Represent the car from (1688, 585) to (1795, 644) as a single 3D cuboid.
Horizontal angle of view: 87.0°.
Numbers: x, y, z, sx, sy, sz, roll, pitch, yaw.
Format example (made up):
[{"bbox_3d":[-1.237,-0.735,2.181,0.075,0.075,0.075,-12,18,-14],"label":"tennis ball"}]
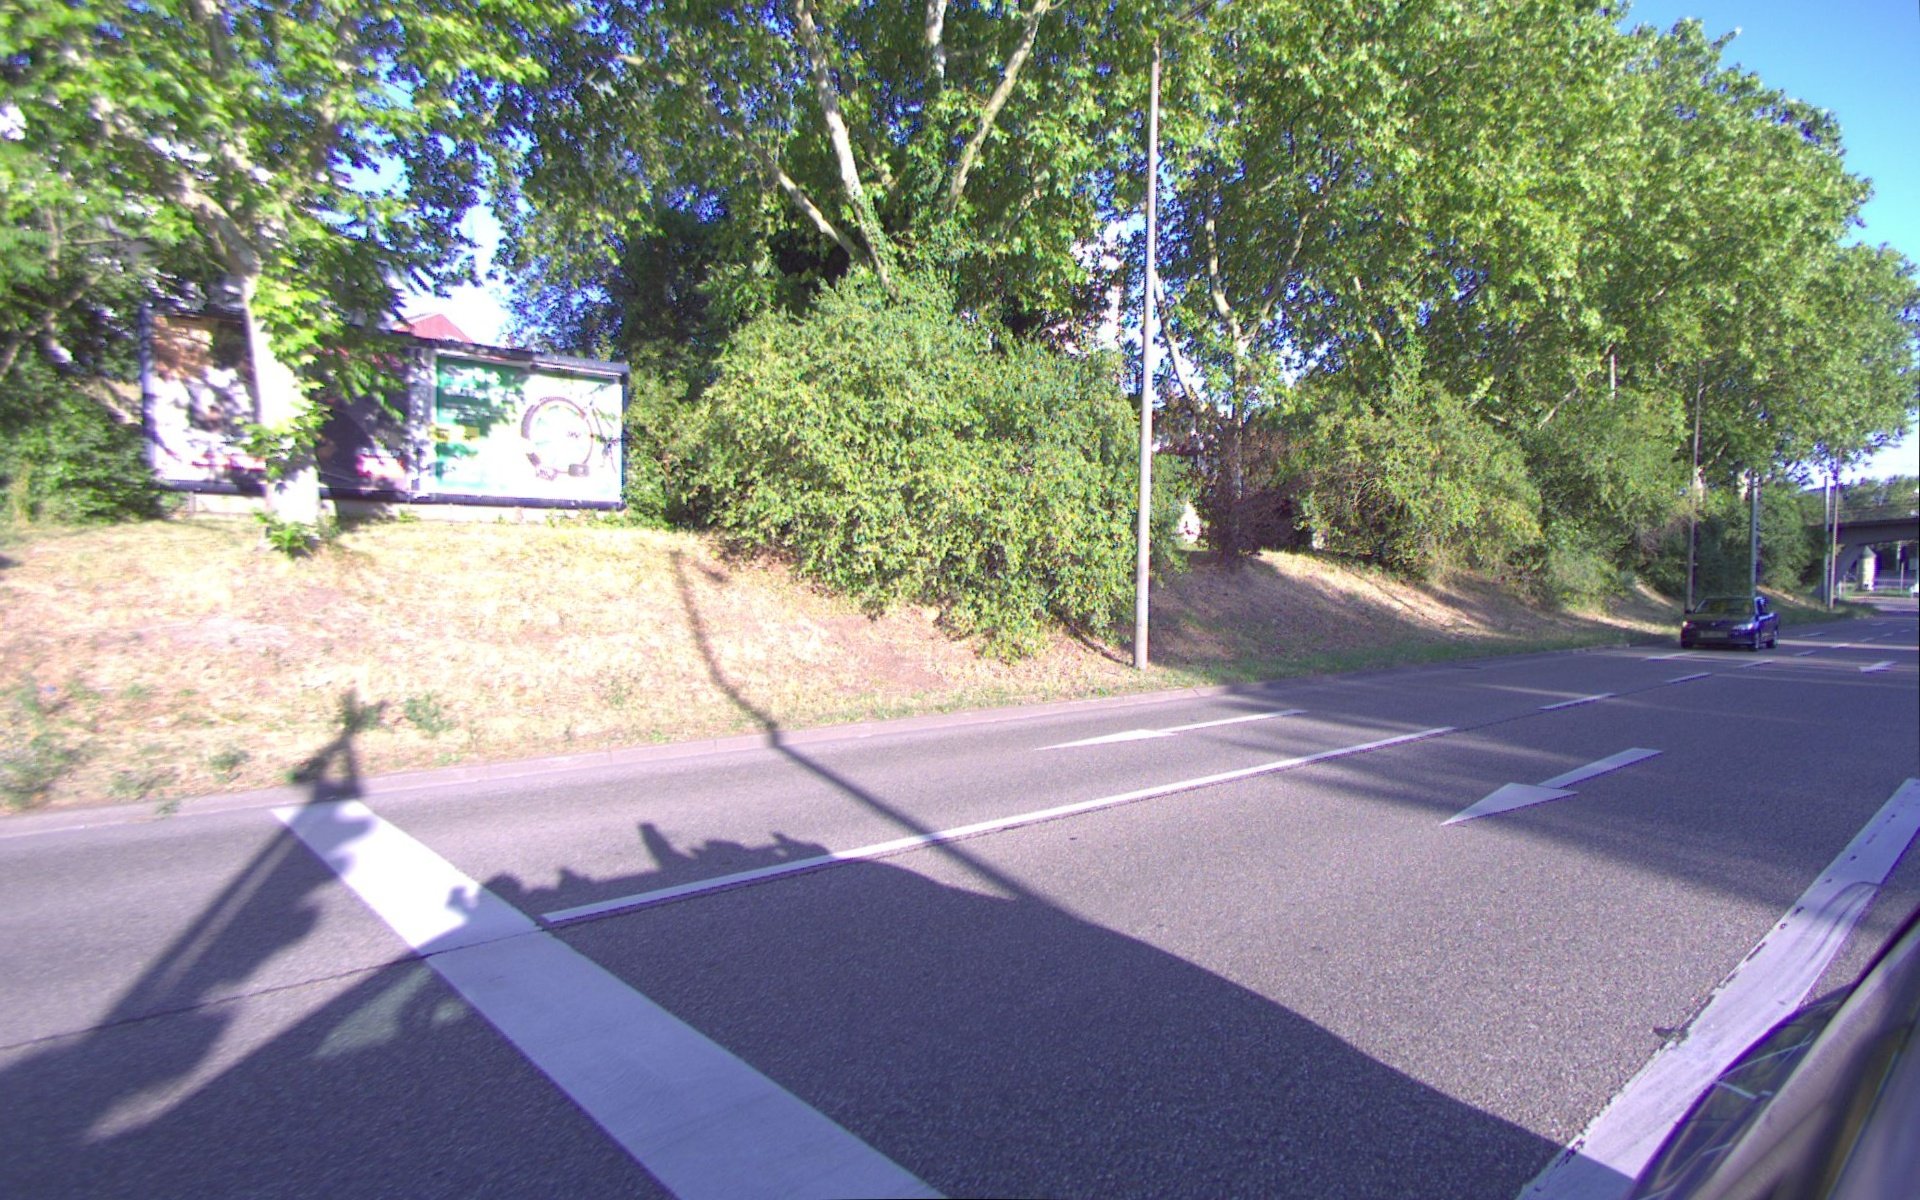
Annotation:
[{"bbox_3d":[21.435,0.342,27.720,3.916,1.460,1.627,-1,1,-42],"label":"car"}]
